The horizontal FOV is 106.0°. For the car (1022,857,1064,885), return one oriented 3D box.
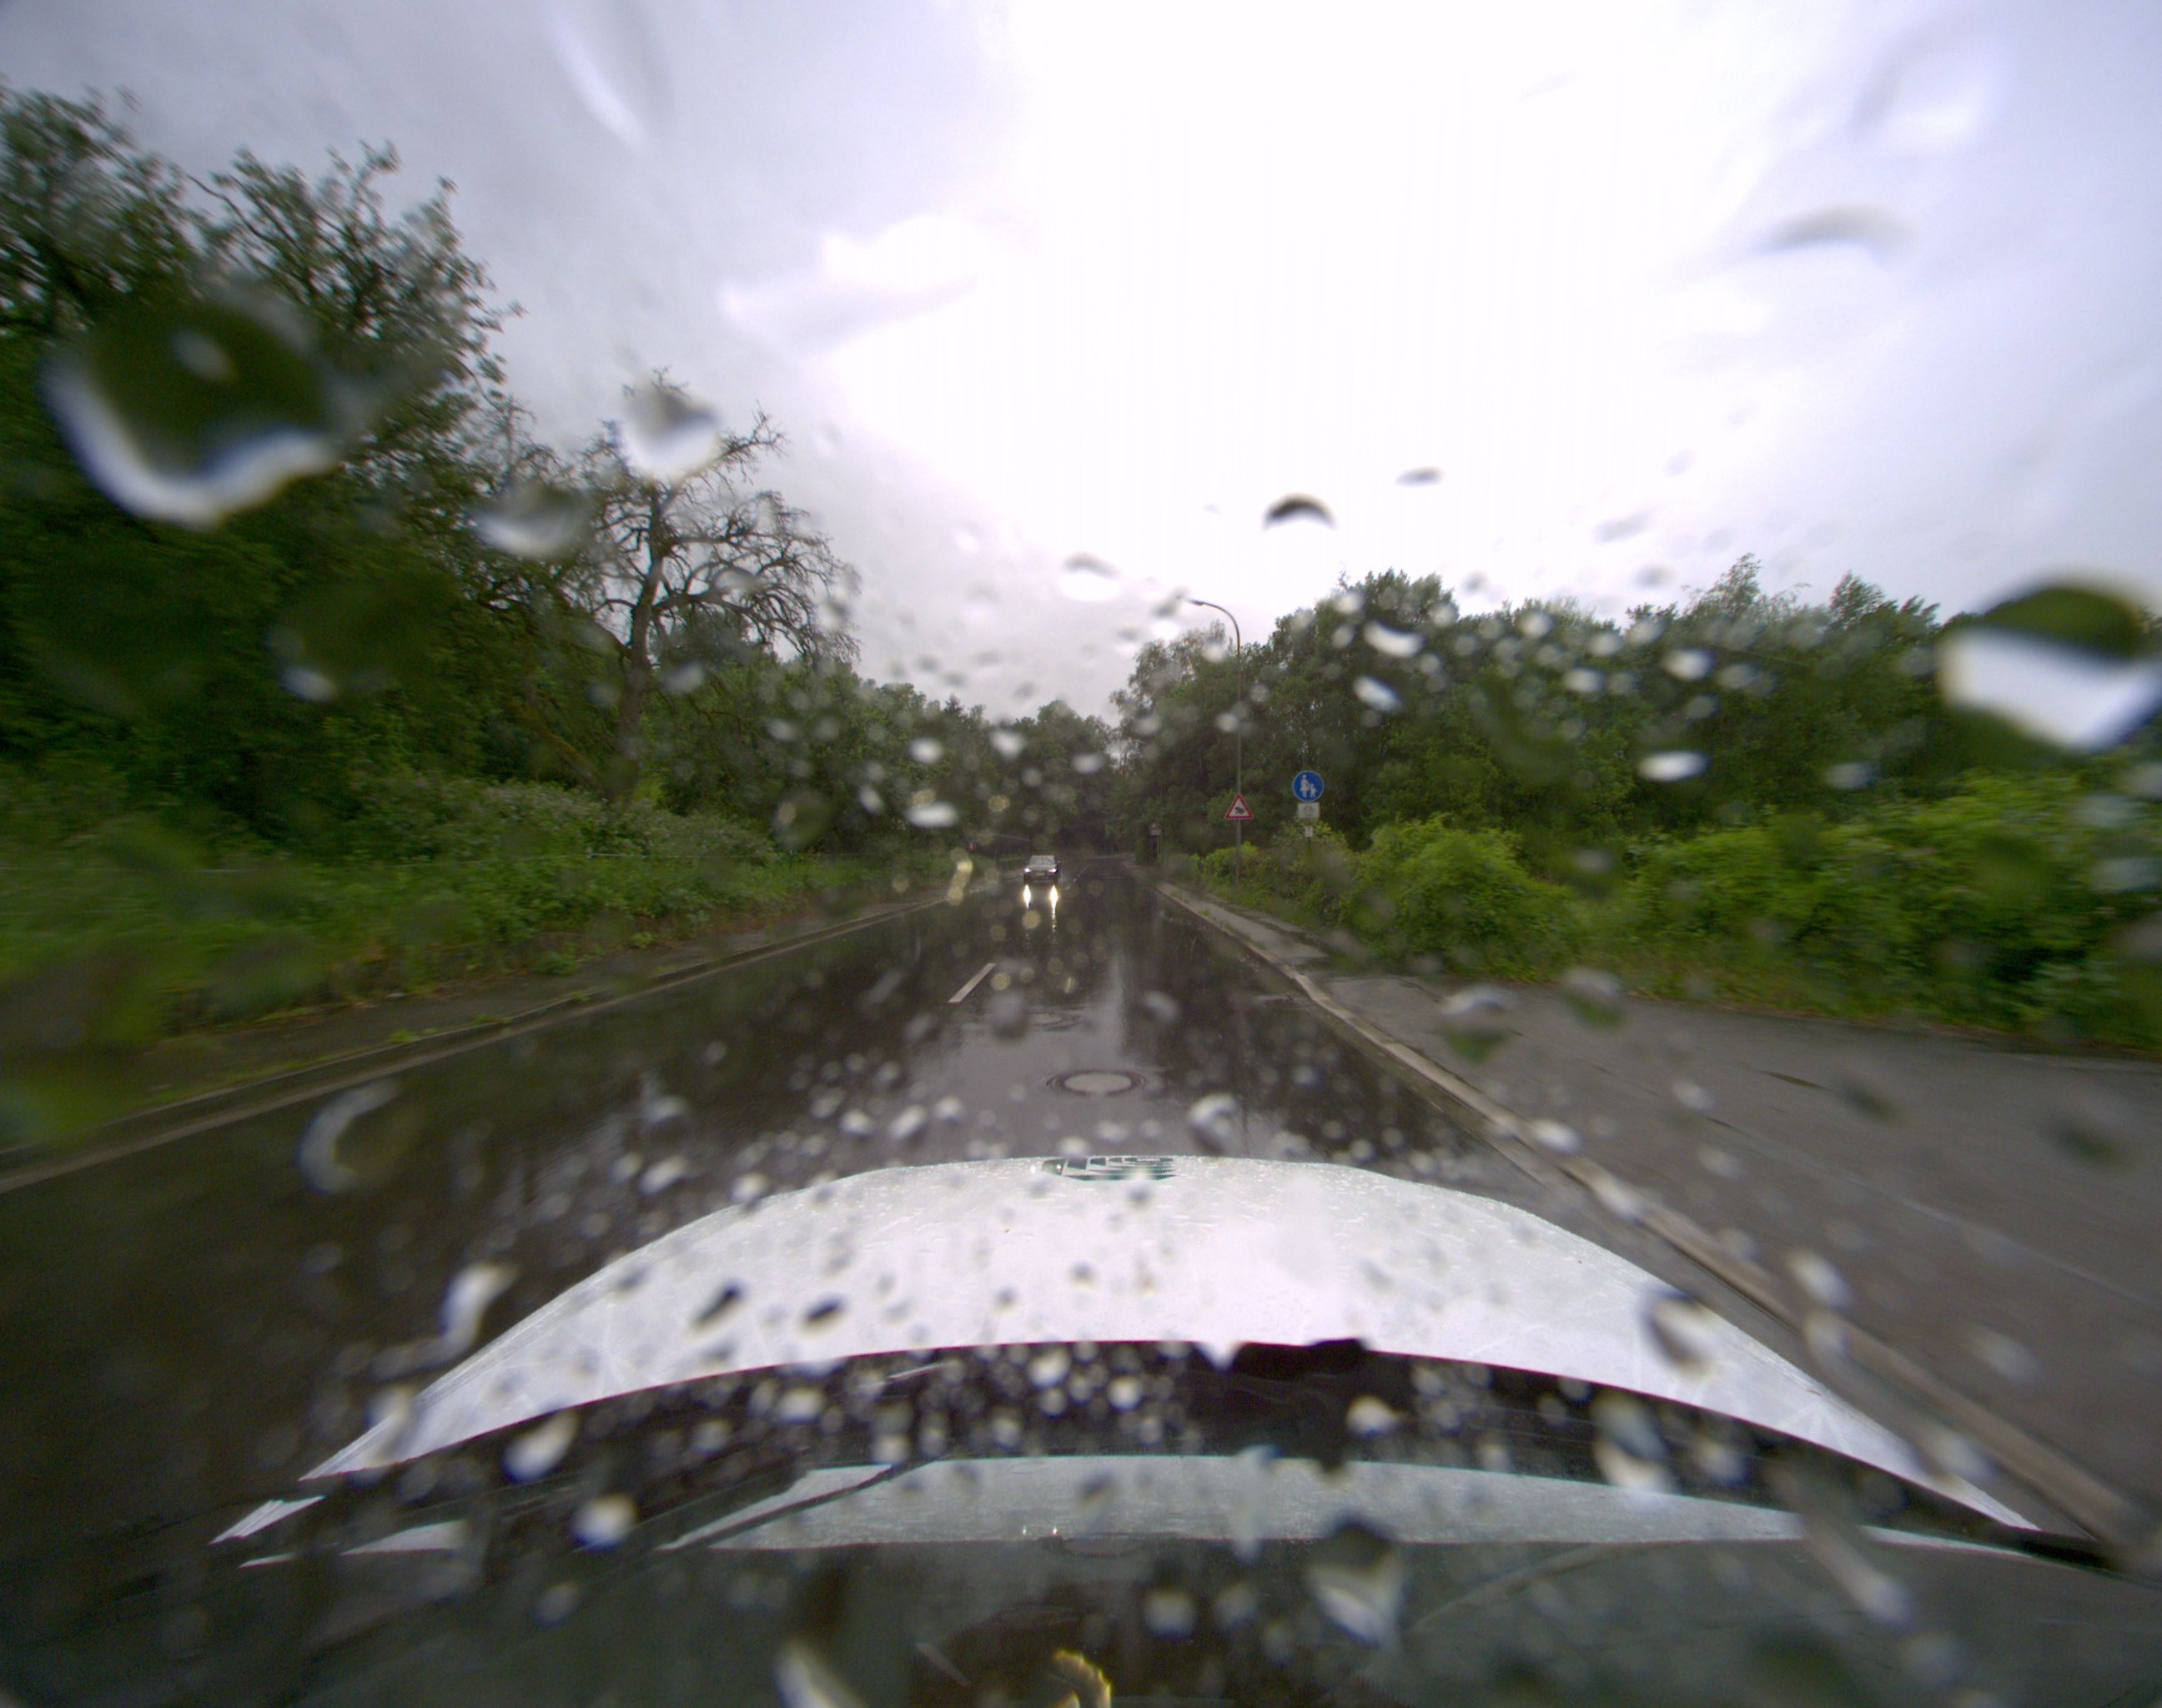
[{"bbox_3d":[-2.047,0.895,44.838,1.986,1.454,4.430,0,0,2],"label":"car"}]
